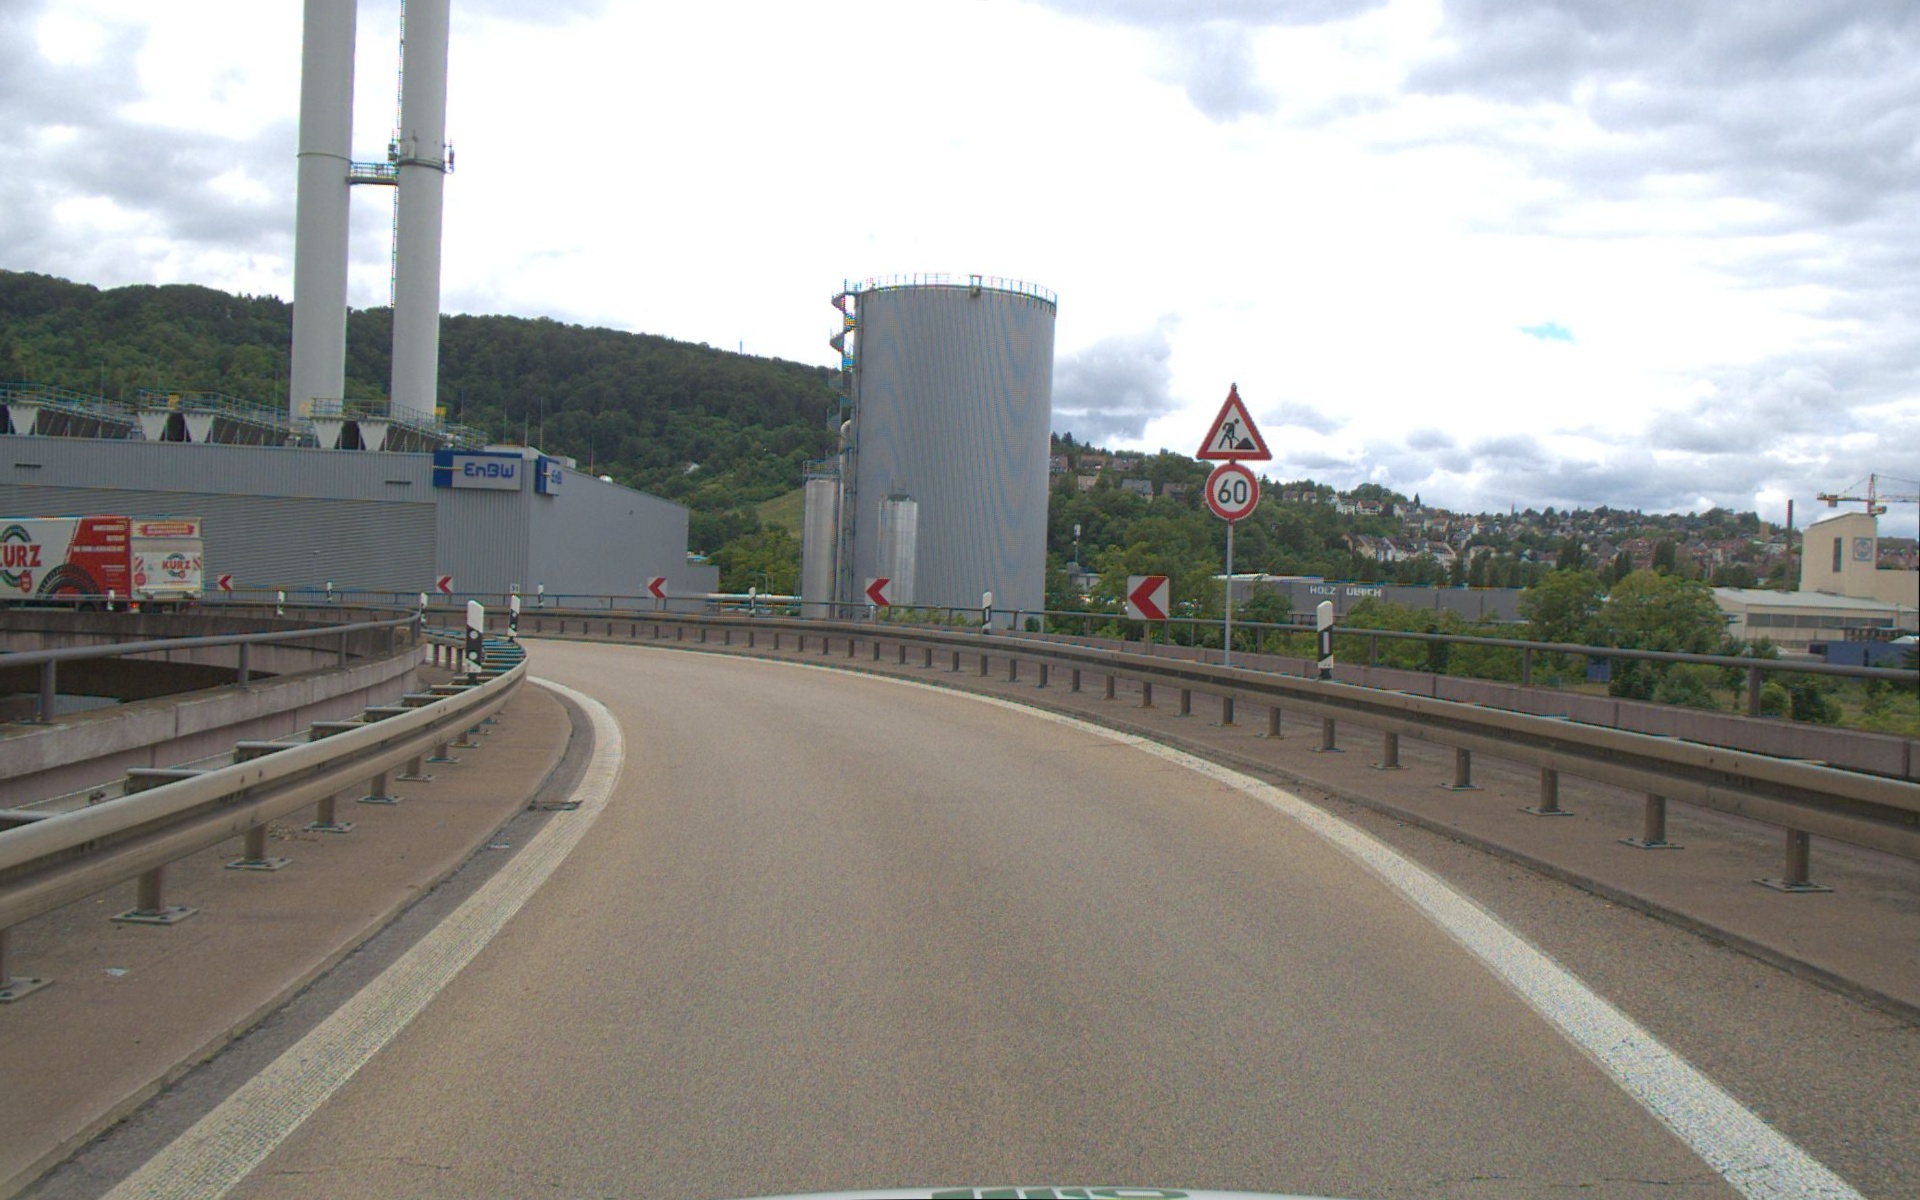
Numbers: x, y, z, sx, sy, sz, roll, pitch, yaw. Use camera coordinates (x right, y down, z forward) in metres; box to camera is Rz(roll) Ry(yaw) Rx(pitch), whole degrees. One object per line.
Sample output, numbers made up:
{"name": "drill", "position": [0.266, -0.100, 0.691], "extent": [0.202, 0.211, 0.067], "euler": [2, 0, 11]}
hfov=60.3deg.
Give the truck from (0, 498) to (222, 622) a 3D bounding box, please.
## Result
{"name": "truck", "position": [-27.670, -1.264, 53.284], "extent": [7.753, 3.737, 3.055], "euler": [1, 0, 30]}
